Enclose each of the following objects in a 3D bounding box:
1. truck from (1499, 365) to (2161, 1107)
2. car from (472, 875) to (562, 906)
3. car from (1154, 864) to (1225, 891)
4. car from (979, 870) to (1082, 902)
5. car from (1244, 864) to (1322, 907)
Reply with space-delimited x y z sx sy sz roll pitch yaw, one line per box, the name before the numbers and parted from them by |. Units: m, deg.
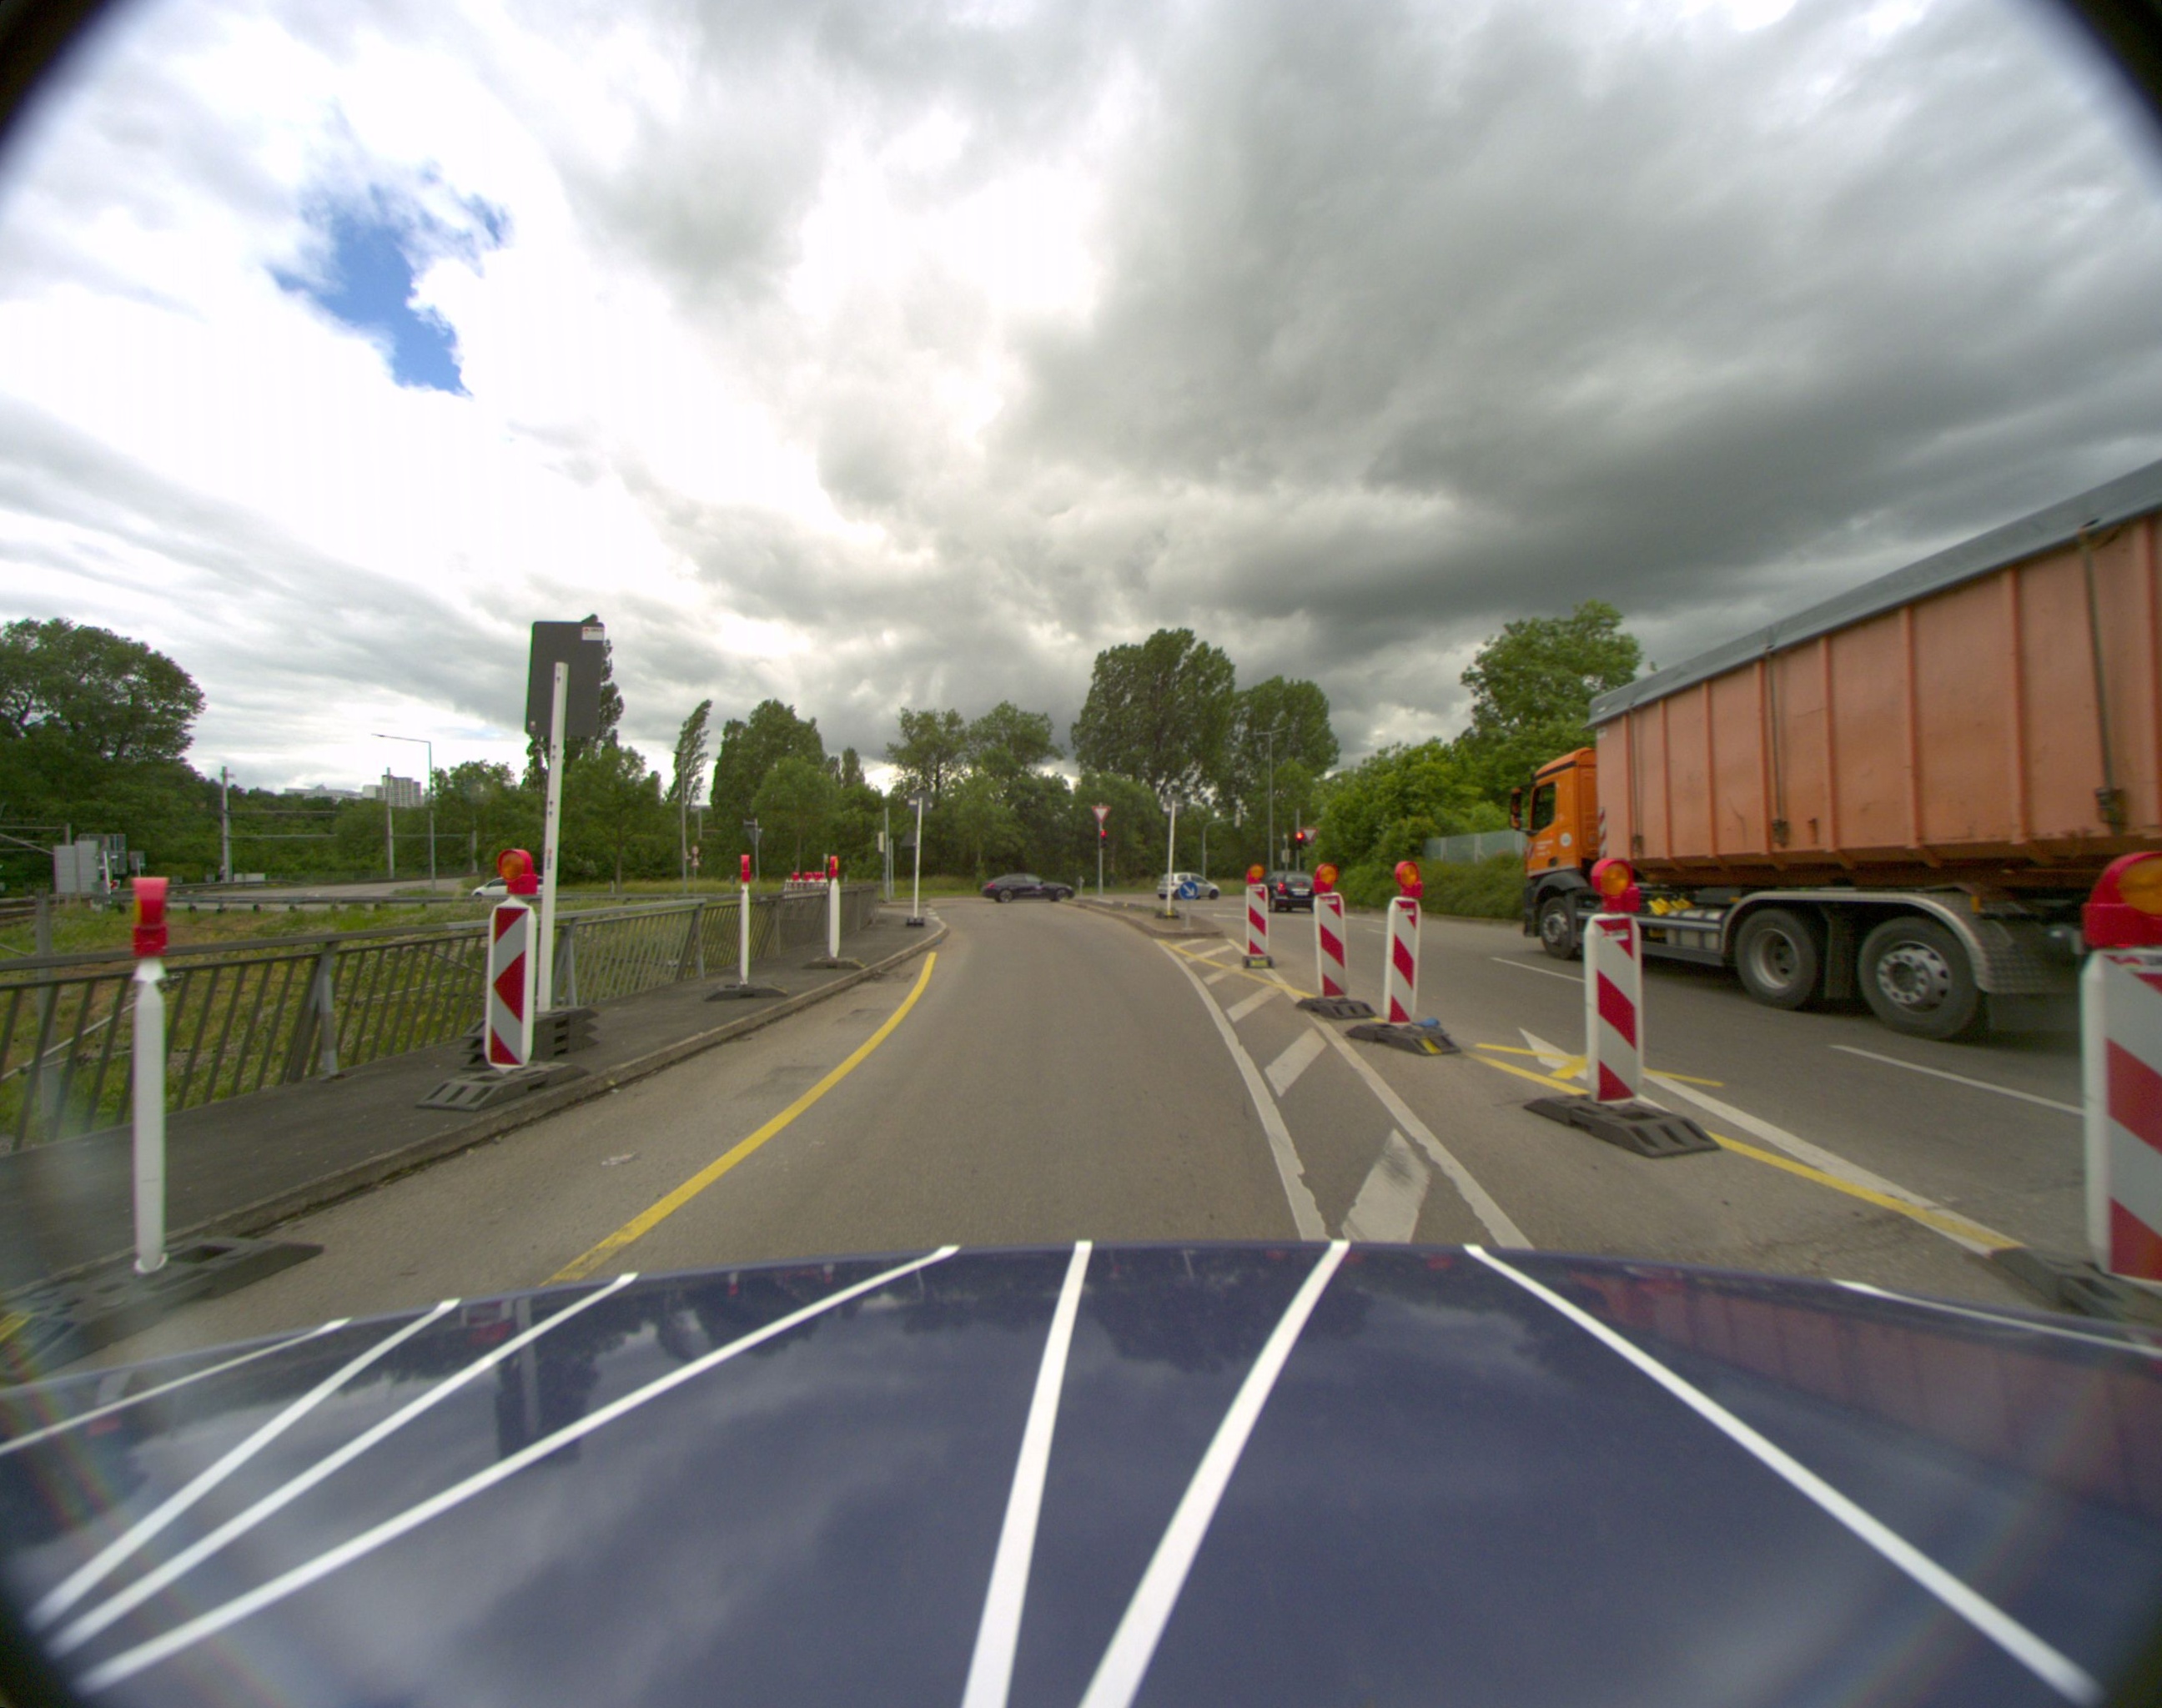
truck | 8.330 -0.644 8.562 3.116 4.195 9.800 -1 0 8
car | -34.234 2.223 46.133 4.314 1.749 2.086 -2 -1 14
car | 6.097 1.292 42.695 3.633 1.461 1.671 0 -1 -24
car | -2.603 1.620 38.936 4.967 1.467 1.876 -1 -2 -17
car | 7.793 1.191 29.649 1.643 1.542 3.787 2 -2 -6
